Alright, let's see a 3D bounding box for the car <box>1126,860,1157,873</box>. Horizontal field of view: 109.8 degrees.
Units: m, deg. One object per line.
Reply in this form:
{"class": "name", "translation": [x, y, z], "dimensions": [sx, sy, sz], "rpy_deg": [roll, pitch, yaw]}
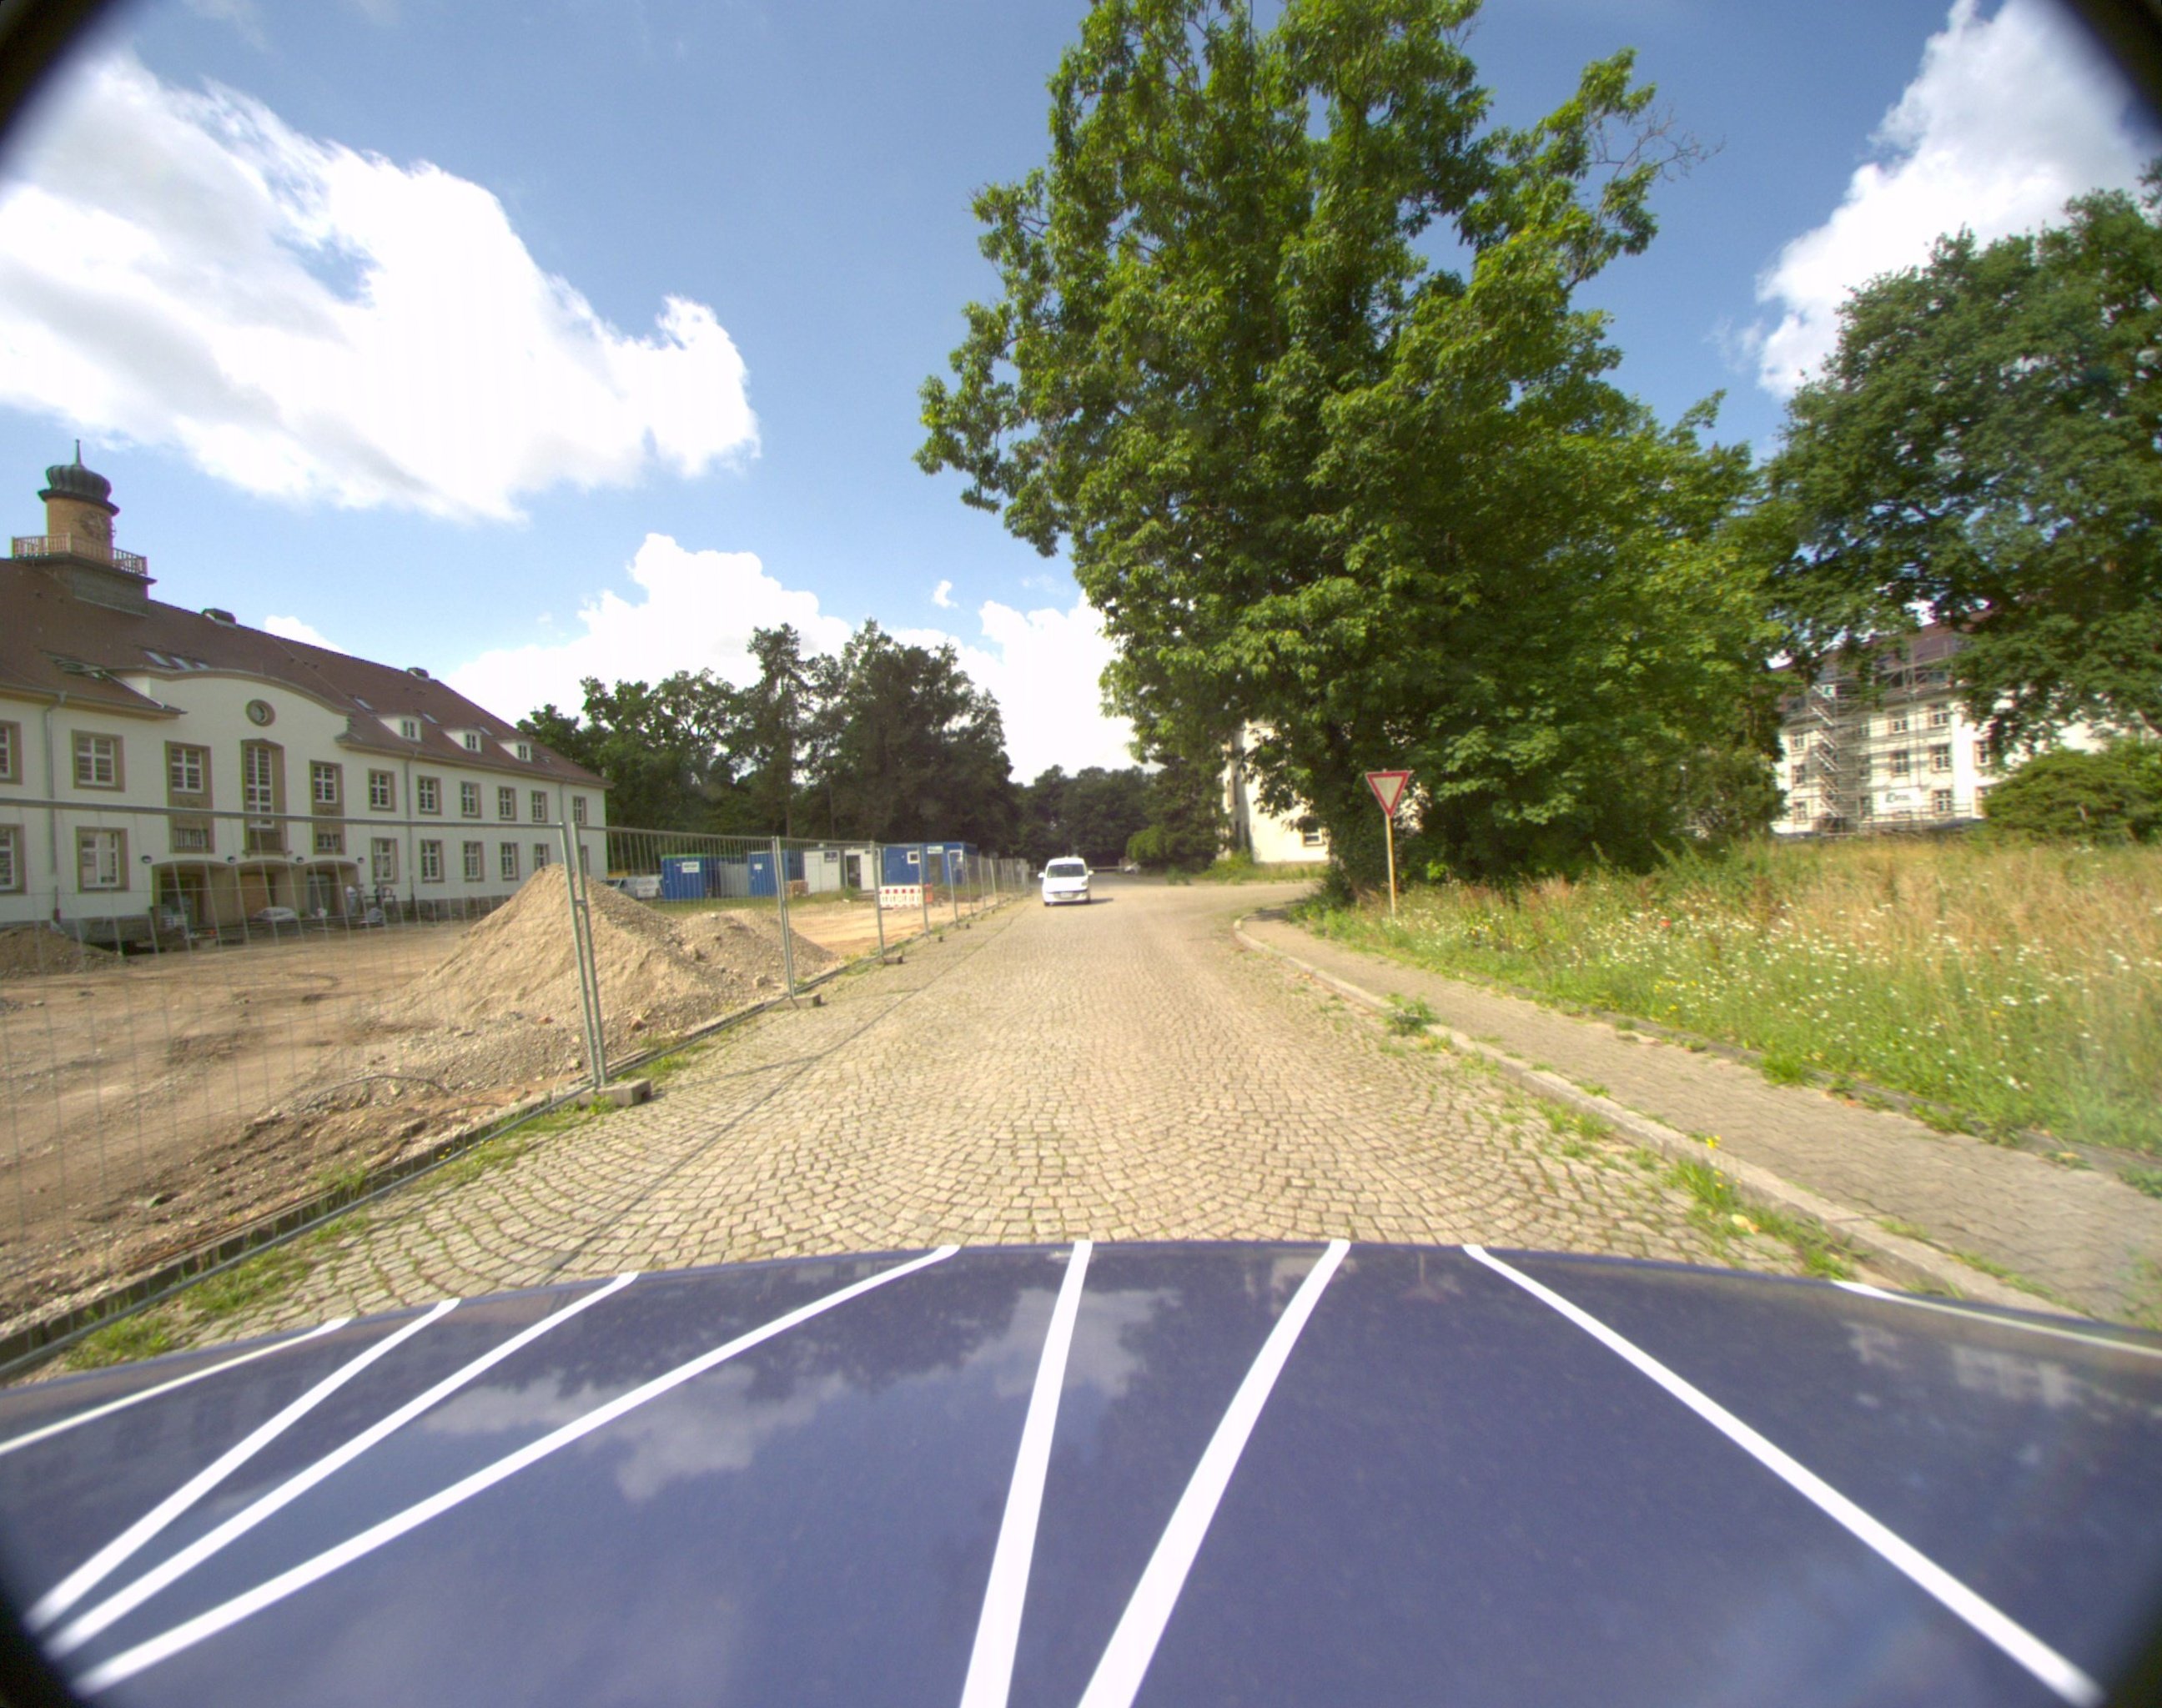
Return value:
{"class": "car", "translation": [8.411, 1.744, 105.285], "dimensions": [4.084, 1.633, 1.767], "rpy_deg": [-2, 0, 0]}

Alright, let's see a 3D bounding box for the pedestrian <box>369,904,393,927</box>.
{"class": "pedestrian", "translation": [-35.111, 3.079, 38.099], "dimensions": [0.491, 1.107, 0.709], "rpy_deg": [-3, 0, -1]}

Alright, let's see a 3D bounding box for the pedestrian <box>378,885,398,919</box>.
{"class": "pedestrian", "translation": [-36.403, 2.514, 39.912], "dimensions": [0.491, 1.777, 0.507], "rpy_deg": [-3, 0, -2]}

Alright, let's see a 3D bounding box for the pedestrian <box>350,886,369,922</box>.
{"class": "pedestrian", "translation": [-36.520, 2.510, 38.456], "dimensions": [0.490, 1.777, 0.507], "rpy_deg": [-3, 0, 23]}

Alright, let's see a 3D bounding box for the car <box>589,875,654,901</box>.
{"class": "car", "translation": [-34.845, 2.515, 57.794], "dimensions": [1.884, 1.718, 4.708], "rpy_deg": [-2, 0, 2]}

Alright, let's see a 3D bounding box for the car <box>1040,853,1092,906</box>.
{"class": "car", "translation": [-0.629, 1.002, 30.371], "dimensions": [1.839, 1.857, 4.831], "rpy_deg": [-2, -2, -2]}

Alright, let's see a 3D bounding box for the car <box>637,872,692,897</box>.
{"class": "car", "translation": [-31.675, 2.307, 57.930], "dimensions": [1.802, 1.673, 4.040], "rpy_deg": [-2, 0, 2]}

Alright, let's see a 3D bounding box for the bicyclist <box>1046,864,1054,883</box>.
{"class": "bicyclist", "translation": [-2.812, 1.795, 69.900], "dimensions": [0.634, 1.760, 0.571], "rpy_deg": [-3, 0, -2]}

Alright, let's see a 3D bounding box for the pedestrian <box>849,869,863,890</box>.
{"class": "pedestrian", "translation": [-13.724, 1.562, 46.405], "dimensions": [0.602, 1.235, 0.683], "rpy_deg": [-3, 0, -1]}

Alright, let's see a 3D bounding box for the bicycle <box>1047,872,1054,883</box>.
{"class": "bicycle", "translation": [-2.800, 2.168, 69.920], "dimensions": [0.634, 0.990, 1.557], "rpy_deg": [-3, 0, -1]}
